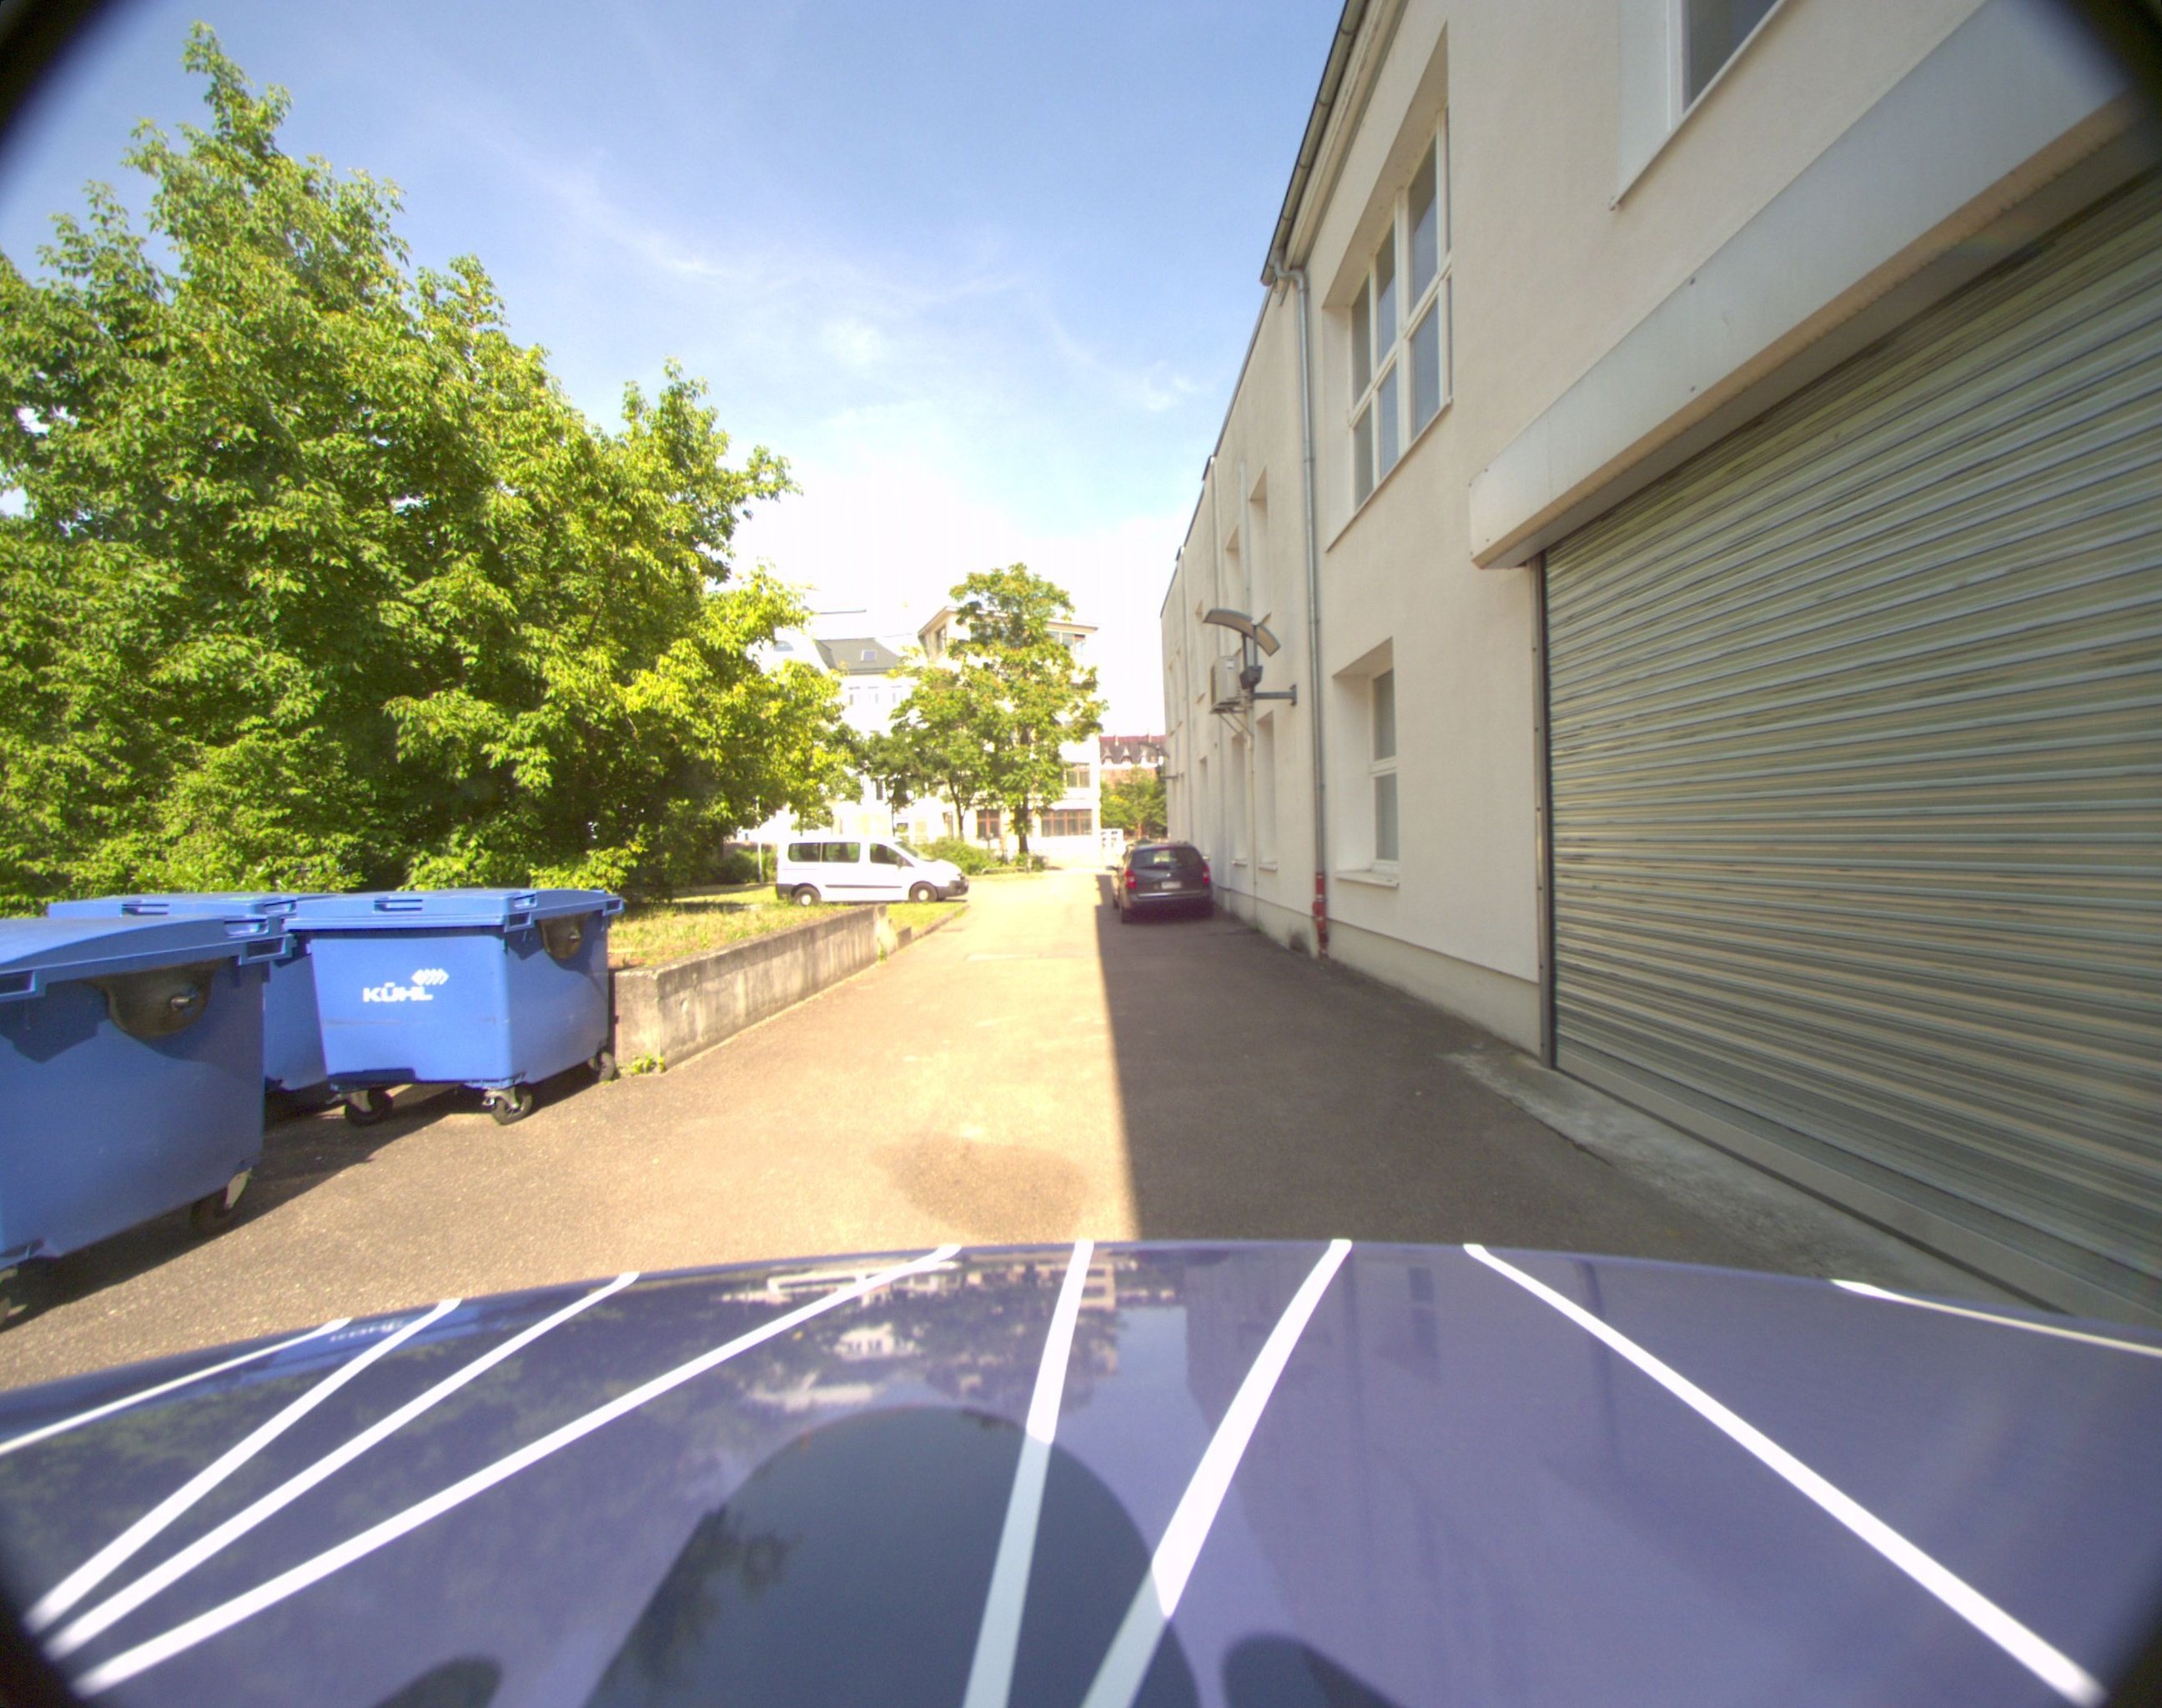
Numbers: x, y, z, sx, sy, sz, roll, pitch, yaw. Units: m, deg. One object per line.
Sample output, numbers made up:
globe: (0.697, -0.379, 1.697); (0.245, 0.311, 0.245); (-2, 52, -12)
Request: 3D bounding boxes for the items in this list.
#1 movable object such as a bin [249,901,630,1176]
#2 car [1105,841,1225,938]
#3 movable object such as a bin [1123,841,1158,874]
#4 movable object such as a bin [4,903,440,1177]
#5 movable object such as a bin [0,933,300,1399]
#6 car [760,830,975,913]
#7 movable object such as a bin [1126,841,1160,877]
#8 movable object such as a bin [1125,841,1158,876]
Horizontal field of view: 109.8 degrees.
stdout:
movable object such as a bin: (-3.681, 1.000, 4.536); (1.250, 1.312, 1.142); (0, 3, 2)
car: (1.540, 0.584, 15.398); (1.841, 1.434, 4.427); (-4, 3, 0)
movable object such as a bin: (2.658, 0.156, 33.872); (1.248, 1.423, 1.222); (-2, 1, -11)
movable object such as a bin: (-4.968, 1.016, 4.534); (1.250, 1.333, 1.142); (-1, 2, 3)
movable object such as a bin: (-4.047, 1.042, 2.724); (1.250, 1.347, 1.128); (-1, 2, -3)
car: (-5.527, 0.432, 20.154); (5.036, 1.922, 2.000); (-2, 1, 2)
movable object such as a bin: (2.523, 0.189, 30.974); (1.247, 1.423, 1.349); (-2, 1, 0)
movable object such as a bin: (2.579, 0.168, 32.485); (1.247, 1.423, 1.365); (-2, 1, 0)
